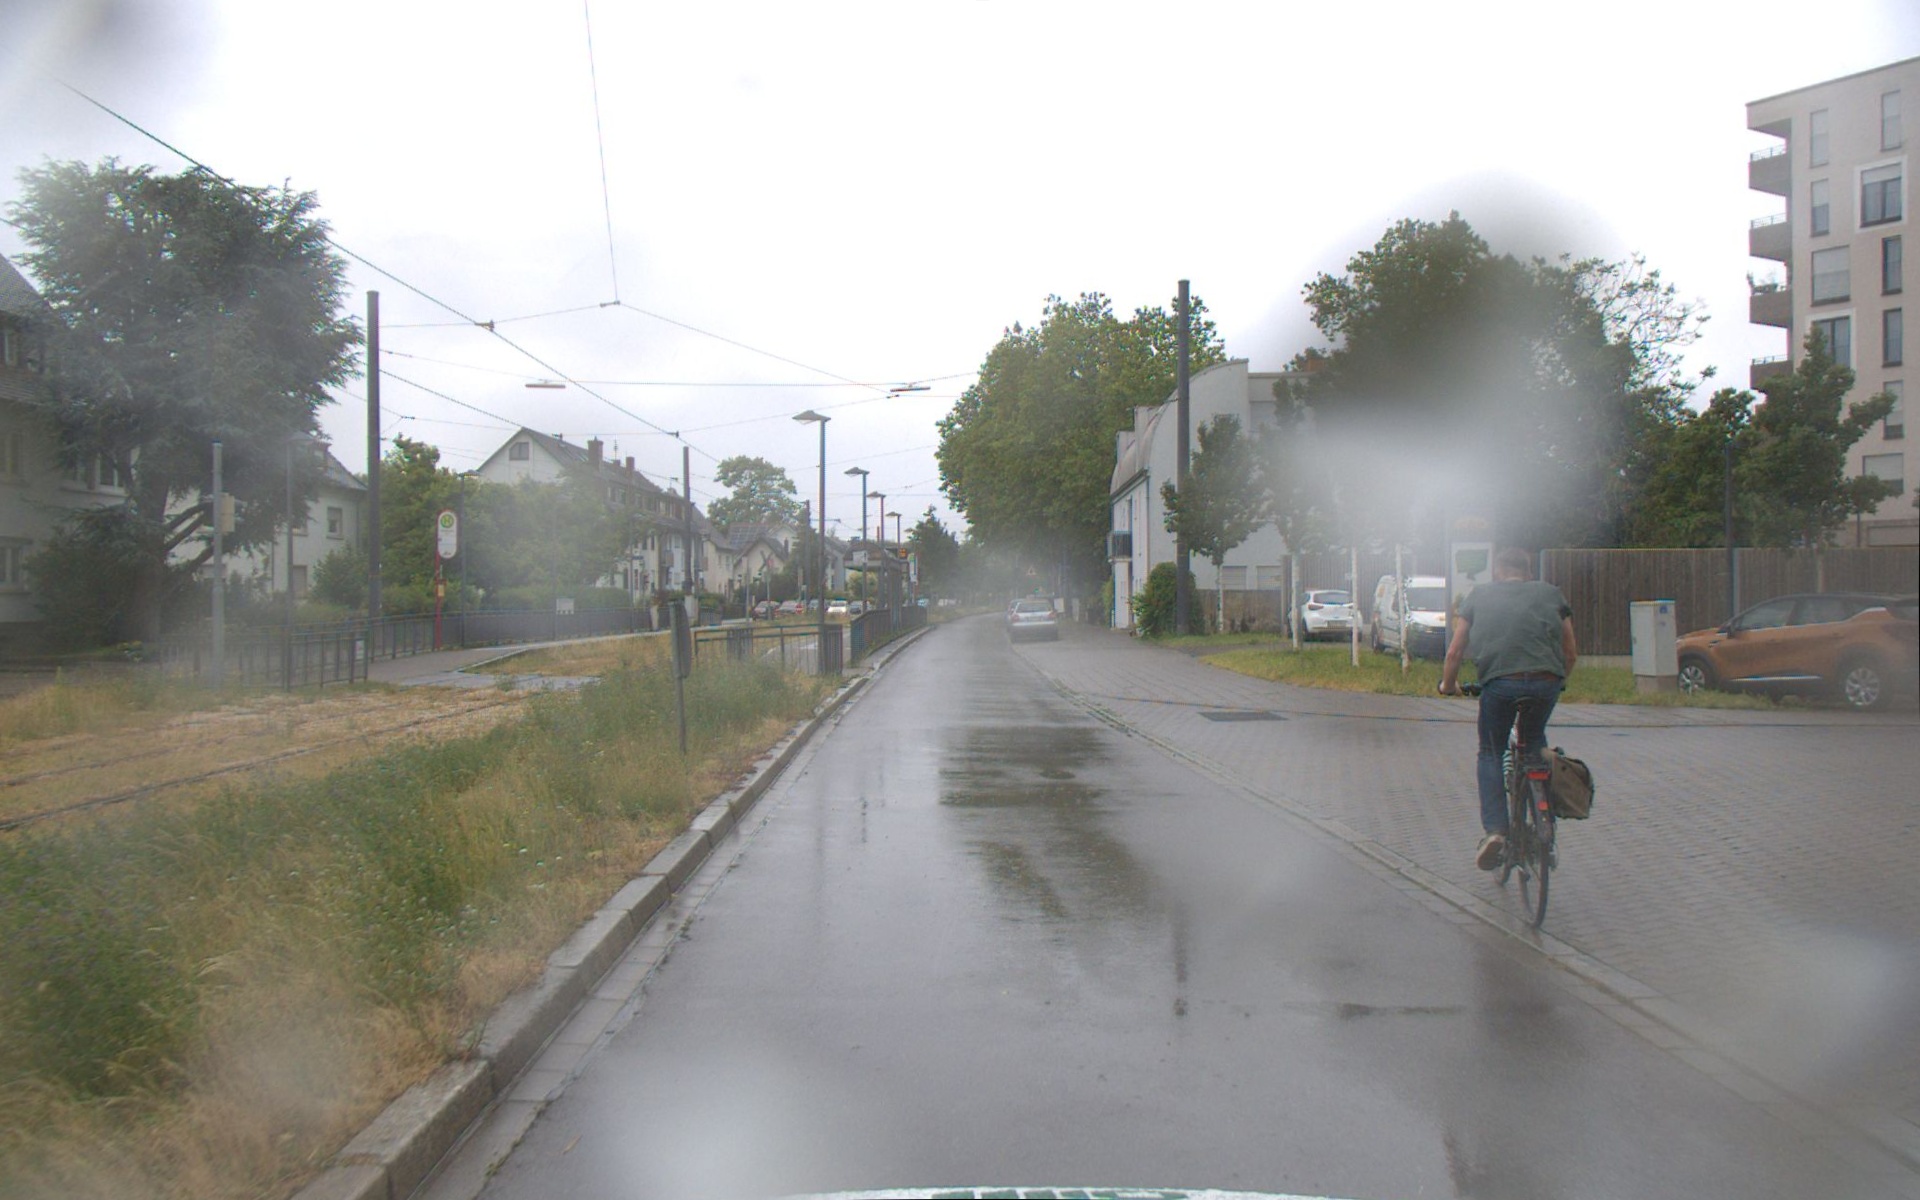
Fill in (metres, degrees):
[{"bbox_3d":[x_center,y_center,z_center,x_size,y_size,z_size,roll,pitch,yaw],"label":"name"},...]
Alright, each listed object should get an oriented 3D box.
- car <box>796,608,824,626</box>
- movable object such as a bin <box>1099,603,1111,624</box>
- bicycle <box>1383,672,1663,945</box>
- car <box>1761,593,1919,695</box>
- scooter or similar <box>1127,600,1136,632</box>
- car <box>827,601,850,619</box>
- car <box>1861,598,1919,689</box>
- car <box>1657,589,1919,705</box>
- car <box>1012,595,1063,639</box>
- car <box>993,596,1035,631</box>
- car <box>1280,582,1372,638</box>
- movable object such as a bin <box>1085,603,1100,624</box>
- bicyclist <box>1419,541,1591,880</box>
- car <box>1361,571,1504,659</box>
[{"bbox_3d":[-13.501,1.544,149.251,1.888,1.512,4.002,0,-1,4],"label":"car"},{"bbox_3d":[7.390,0.706,84.467,0.525,1.040,0.738,-3,-1,0],"label":"movable object such as a bin"},{"bbox_3d":[2.690,0.943,8.134,0.526,1.112,1.945,1,-1,-6],"label":"bicycle"},{"bbox_3d":[14.360,0.646,24.679,1.971,1.466,3.962,1,-1,-28],"label":"car"},{"bbox_3d":[6.074,0.572,58.557,0.326,1.104,1.396,0,-1,6],"label":"scooter or similar"},{"bbox_3d":[-10.499,0.872,143.166,1.599,1.519,4.000,0,-1,2],"label":"car"},{"bbox_3d":[16.773,0.713,26.224,1.971,1.466,3.962,1,-1,-28],"label":"car"},{"bbox_3d":[12.085,0.628,23.156,1.971,1.466,3.962,1,-1,-28],"label":"car"},{"bbox_3d":[2.759,0.624,59.729,1.616,1.430,4.649,-4,-1,1],"label":"car"},{"bbox_3d":[2.455,0.629,75.824,1.770,1.493,3.794,-4,-1,1],"label":"car"},{"bbox_3d":[10.836,0.262,49.224,1.922,1.561,4.365,0,1,2],"label":"car"},{"bbox_3d":[6.823,0.706,85.180,0.678,1.040,0.824,-3,-1,0],"label":"movable object such as a bin"},{"bbox_3d":[2.676,0.524,8.175,0.524,1.587,0.771,1,-1,-8],"label":"bicyclist"},{"bbox_3d":[10.445,0.276,36.938,1.922,1.815,4.898,0,1,2],"label":"car"}]
